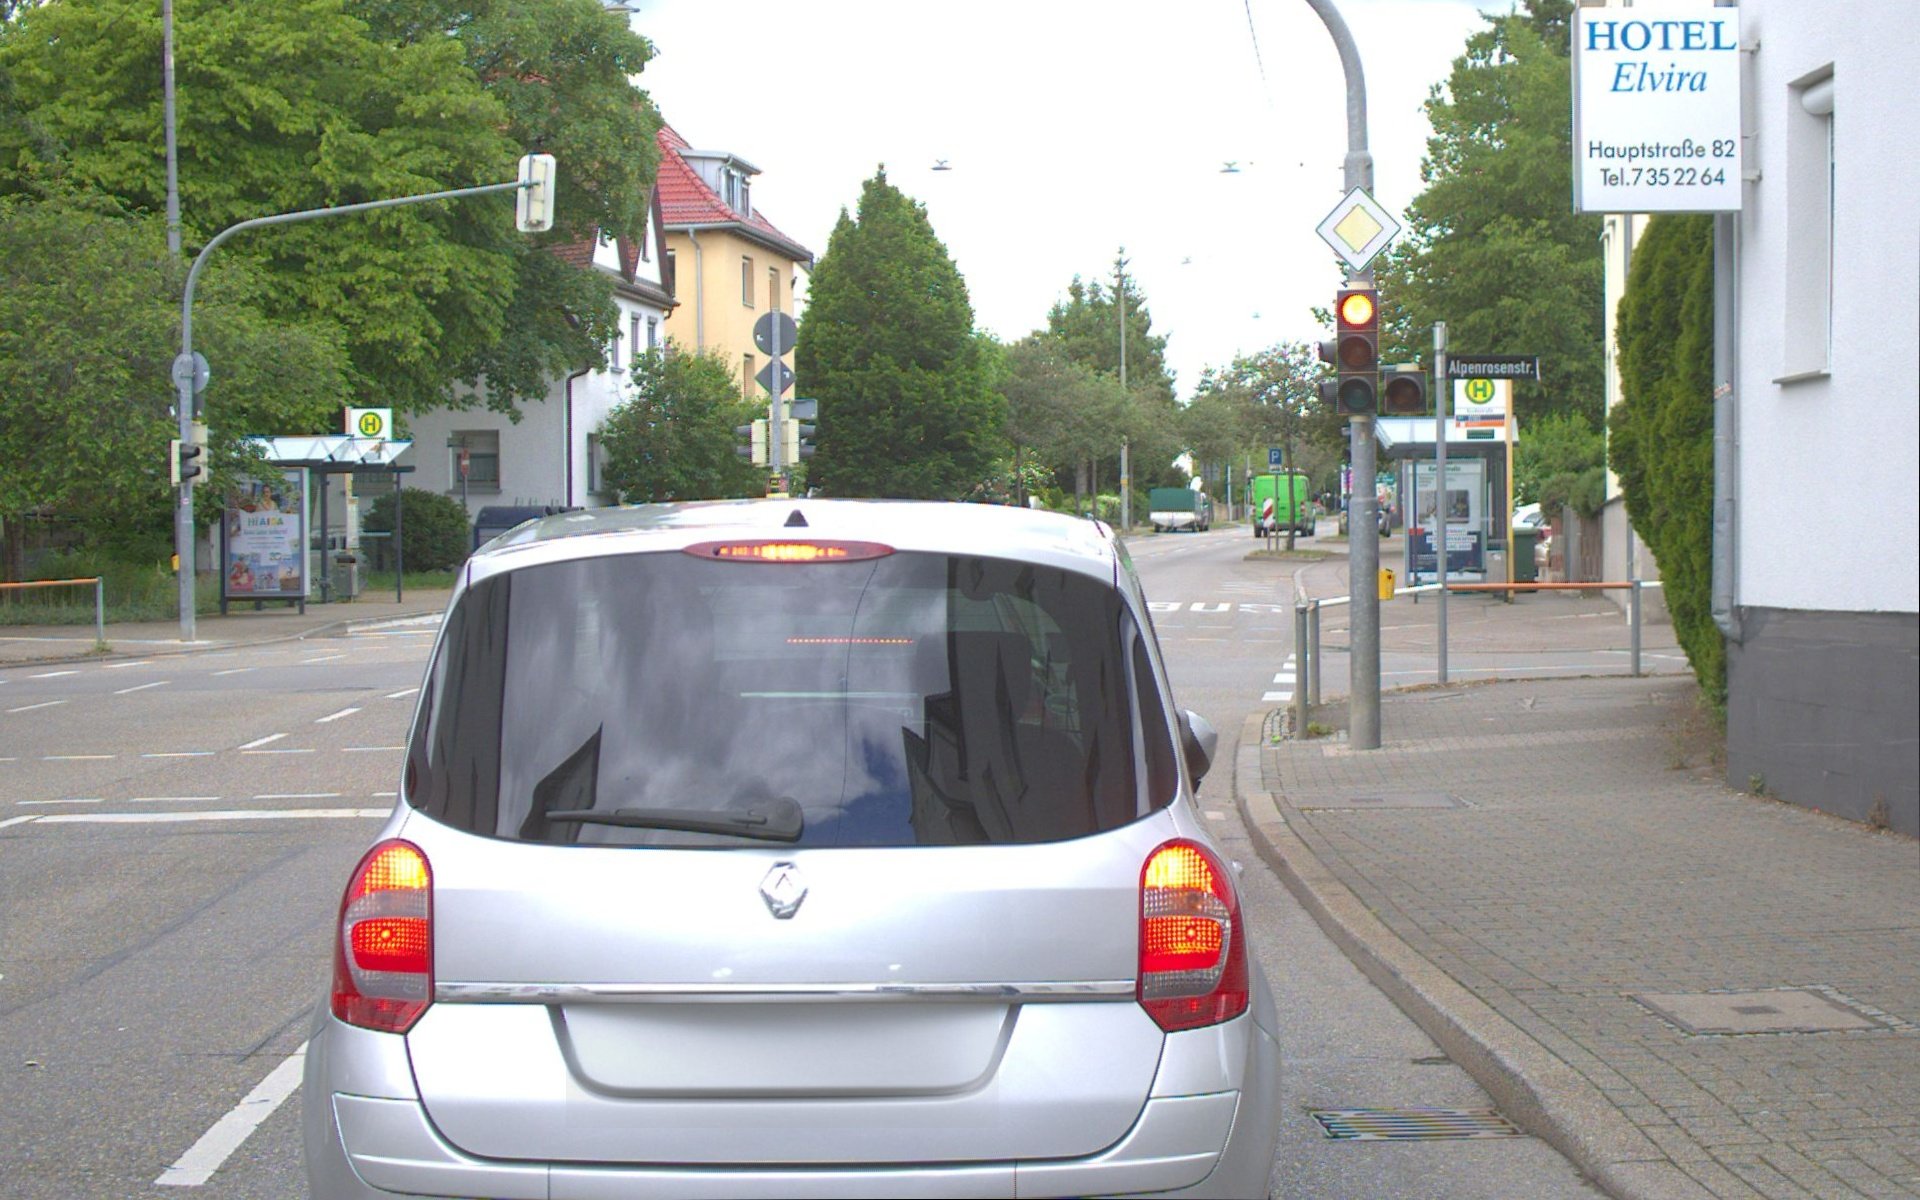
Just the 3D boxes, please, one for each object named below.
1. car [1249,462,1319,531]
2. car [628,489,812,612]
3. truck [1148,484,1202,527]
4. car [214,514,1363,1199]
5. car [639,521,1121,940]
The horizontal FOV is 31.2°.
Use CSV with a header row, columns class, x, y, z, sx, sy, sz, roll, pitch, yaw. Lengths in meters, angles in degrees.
class,x,y,z,sx,sy,sz,roll,pitch,yaw
car,12.264,-3.880,129.915,2.060,2.503,5.593,1,1,11
car,-3.790,-0.811,55.056,1.927,1.767,3.999,-4,1,10
truck,10.497,-4.580,167.366,2.102,2.007,5.745,1,1,9
car,-0.300,0.605,7.279,1.755,1.525,4.000,0,1,-1
car,-0.327,0.449,14.500,1.755,1.525,3.797,0,1,-1
